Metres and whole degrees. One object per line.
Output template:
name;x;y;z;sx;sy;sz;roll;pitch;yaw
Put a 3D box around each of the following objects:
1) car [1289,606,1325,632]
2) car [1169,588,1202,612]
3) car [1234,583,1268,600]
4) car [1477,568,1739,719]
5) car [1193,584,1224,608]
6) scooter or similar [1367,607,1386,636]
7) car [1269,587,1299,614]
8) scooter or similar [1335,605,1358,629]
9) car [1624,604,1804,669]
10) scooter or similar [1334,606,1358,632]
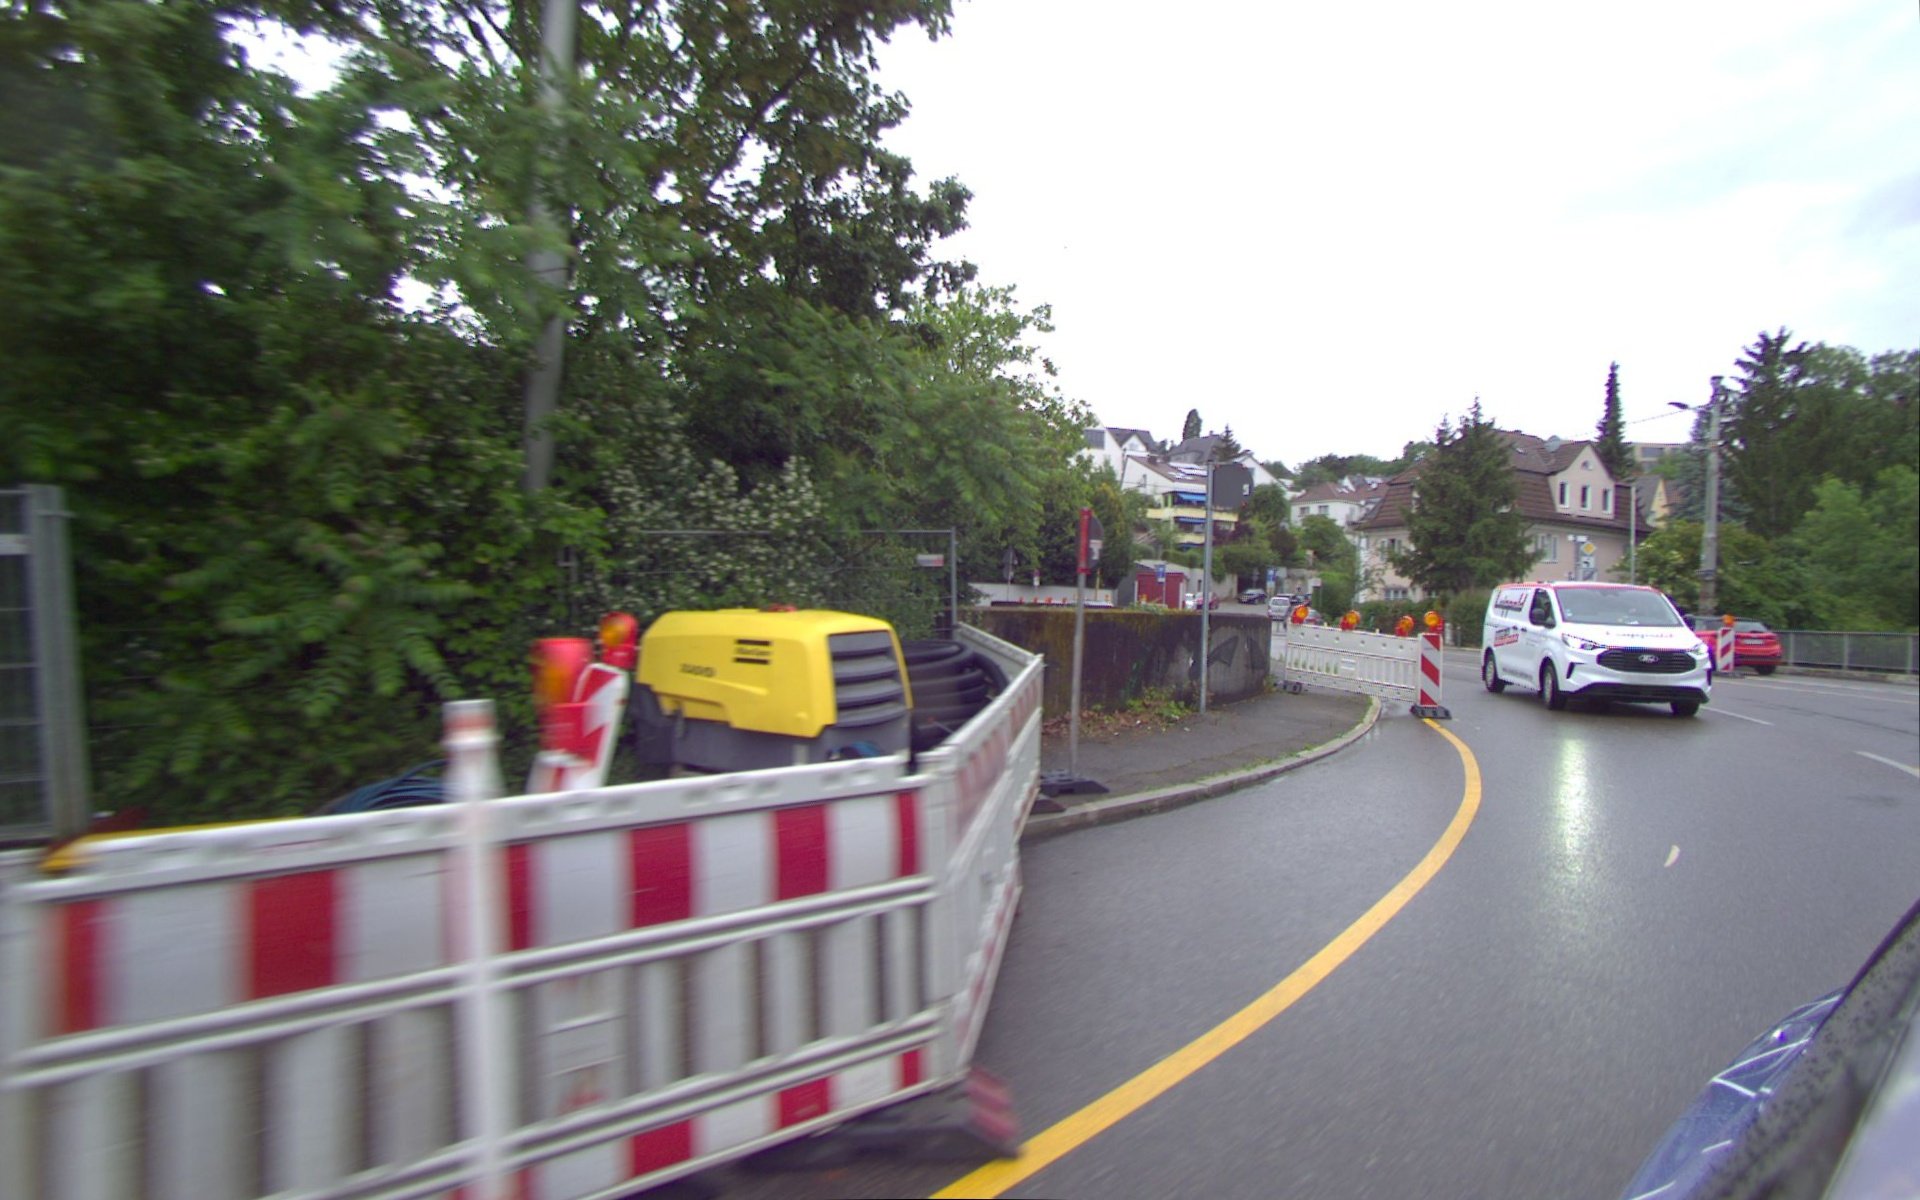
car;19.622;1.061;57.203;1.656;1.282;4.172;3;1;22
car;17.492;-0.027;78.474;1.976;1.682;3.975;4;3;19
car;27.806;-0.781;96.722;1.871;1.512;3.948;-1;1;37
car;10.171;0.581;16.411;1.970;2.039;4.929;1;0;13
car;20.960;-0.314;85.405;1.854;1.683;3.968;4;-1;23
scooter or similar;18.538;0.957;45.024;1.018;1.233;0.243;2;1;-38
car;23.694;-0.028;74.059;1.849;1.681;3.982;4;3;16
scooter or similar;18.481;0.815;48.410;1.016;1.082;0.244;3;1;-8
car;19.987;0.905;27.082;1.659;1.415;4.136;3;1;0
scooter or similar;18.141;0.881;47.548;1.015;1.179;0.244;3;1;-10
